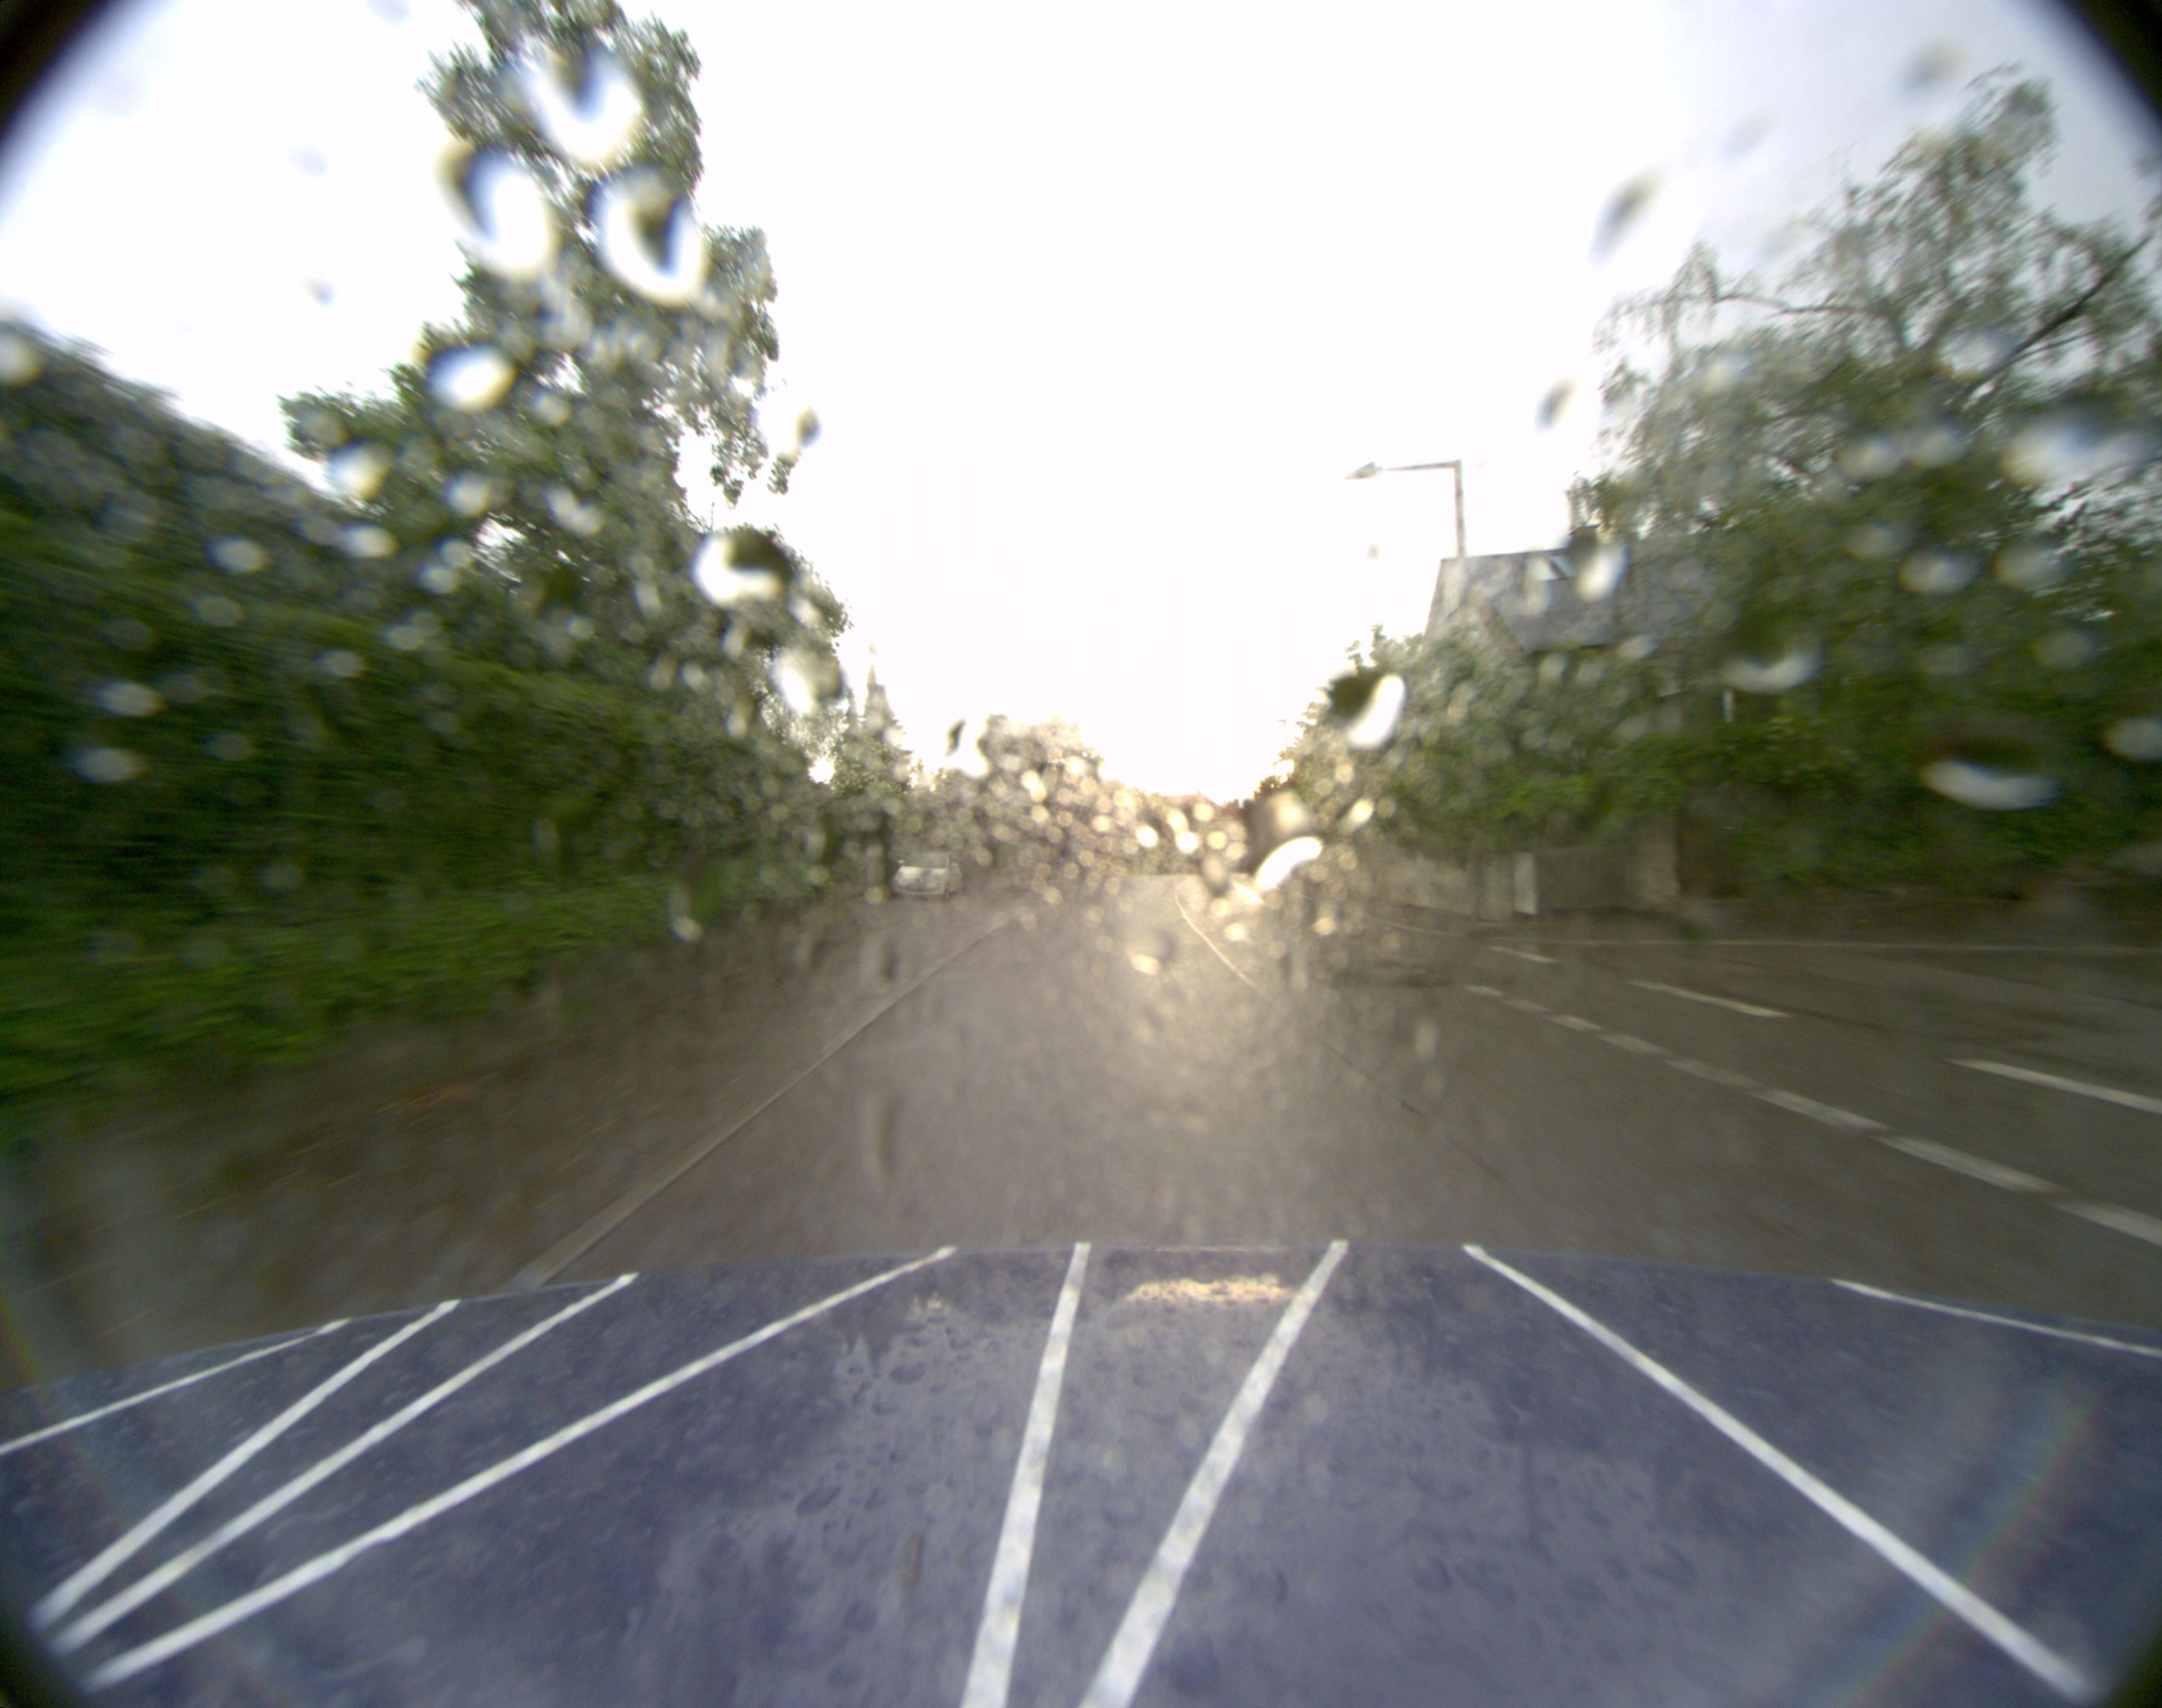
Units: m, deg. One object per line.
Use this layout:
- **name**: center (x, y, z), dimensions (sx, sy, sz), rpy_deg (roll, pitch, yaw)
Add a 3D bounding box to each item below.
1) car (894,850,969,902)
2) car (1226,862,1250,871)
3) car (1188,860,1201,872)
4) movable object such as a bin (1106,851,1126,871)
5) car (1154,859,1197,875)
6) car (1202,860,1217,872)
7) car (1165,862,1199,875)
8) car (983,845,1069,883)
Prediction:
- **car**: center (-4.676, 0.659, 24.258), dimensions (1.535, 1.526, 3.845), rpy_deg (0, 0, 2)
- **car**: center (28.940, 2.256, 140.087), dimensions (4.083, 1.399, 1.728), rpy_deg (-5, -1, 39)
- **car**: center (17.875, 1.897, 119.724), dimensions (1.794, 1.584, 4.256), rpy_deg (0, 2, 5)
- **movable object such as a bin**: center (2.619, 0.538, 57.306), dimensions (1.245, 1.488, 0.982), rpy_deg (-1, -1, -17)
- **car**: center (10.384, 1.405, 83.762), dimensions (4.533, 1.650, 1.858), rpy_deg (-1, -2, 11)
- **car**: center (20.351, 1.891, 120.145), dimensions (1.723, 1.554, 3.793), rpy_deg (0, 2, 0)
- **car**: center (11.808, 1.732, 88.897), dimensions (3.748, 1.449, 1.727), rpy_deg (-2, -2, 16)
- **car**: center (-3.054, 0.546, 41.733), dimensions (4.335, 1.706, 1.731), rpy_deg (-5, 0, 29)
